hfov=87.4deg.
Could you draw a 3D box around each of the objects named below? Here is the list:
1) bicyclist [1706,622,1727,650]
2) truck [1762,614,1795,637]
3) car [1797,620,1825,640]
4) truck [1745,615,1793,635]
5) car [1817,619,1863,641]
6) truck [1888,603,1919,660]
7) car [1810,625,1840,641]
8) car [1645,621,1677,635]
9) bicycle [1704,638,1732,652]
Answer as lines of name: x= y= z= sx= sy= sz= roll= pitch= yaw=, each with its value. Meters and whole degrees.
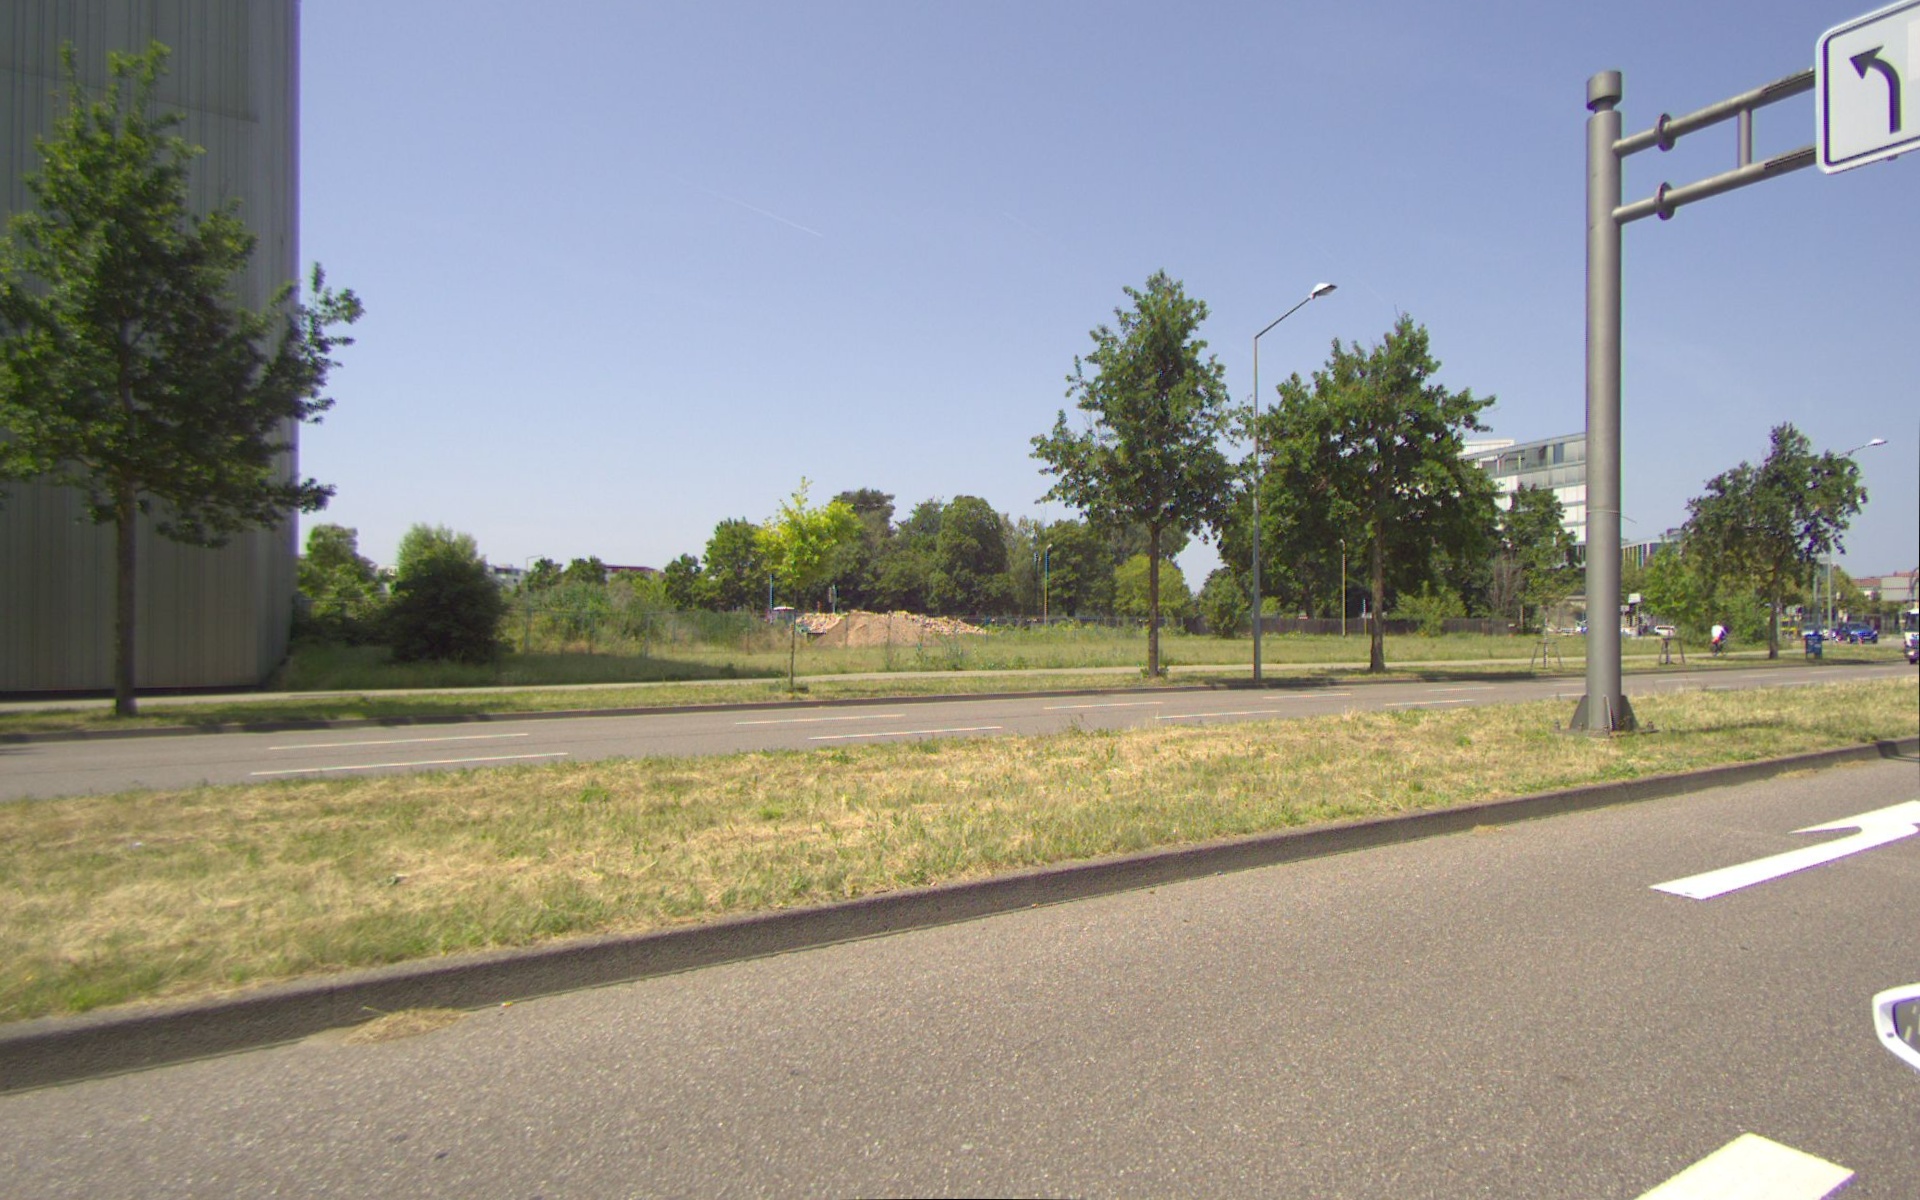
bicyclist: x=39.899 y=1.892 z=52.998 sx=0.747 sy=1.509 sz=0.620 roll=1 pitch=-1 yaw=-28
truck: x=99.001 y=3.063 z=121.580 sx=1.963 sy=2.775 sz=5.029 roll=-1 pitch=-1 yaw=26
car: x=78.661 y=2.747 z=92.885 sx=1.970 sy=1.840 sz=3.981 roll=-1 pitch=-1 yaw=40
truck: x=105.525 y=3.243 z=131.106 sx=2.314 sy=2.629 sz=6.417 roll=0 pitch=-1 yaw=13
car: x=67.195 y=2.271 z=76.753 sx=1.965 sy=1.617 sz=3.991 roll=0 pitch=-1 yaw=32
truck: x=46.601 y=1.491 z=47.681 sx=6.258 sy=2.611 sz=2.620 roll=1 pitch=-1 yaw=-37
car: x=86.303 y=3.306 z=100.209 sx=1.648 sy=1.557 sz=3.853 roll=0 pitch=-1 yaw=31
car: x=107.338 y=4.239 z=153.721 sx=3.938 sy=1.838 sz=1.994 roll=-1 pitch=-9 yaw=39
bicycle: x=40.059 y=2.375 z=53.069 sx=1.827 sy=0.725 sz=0.479 roll=1 pitch=-1 yaw=-29
